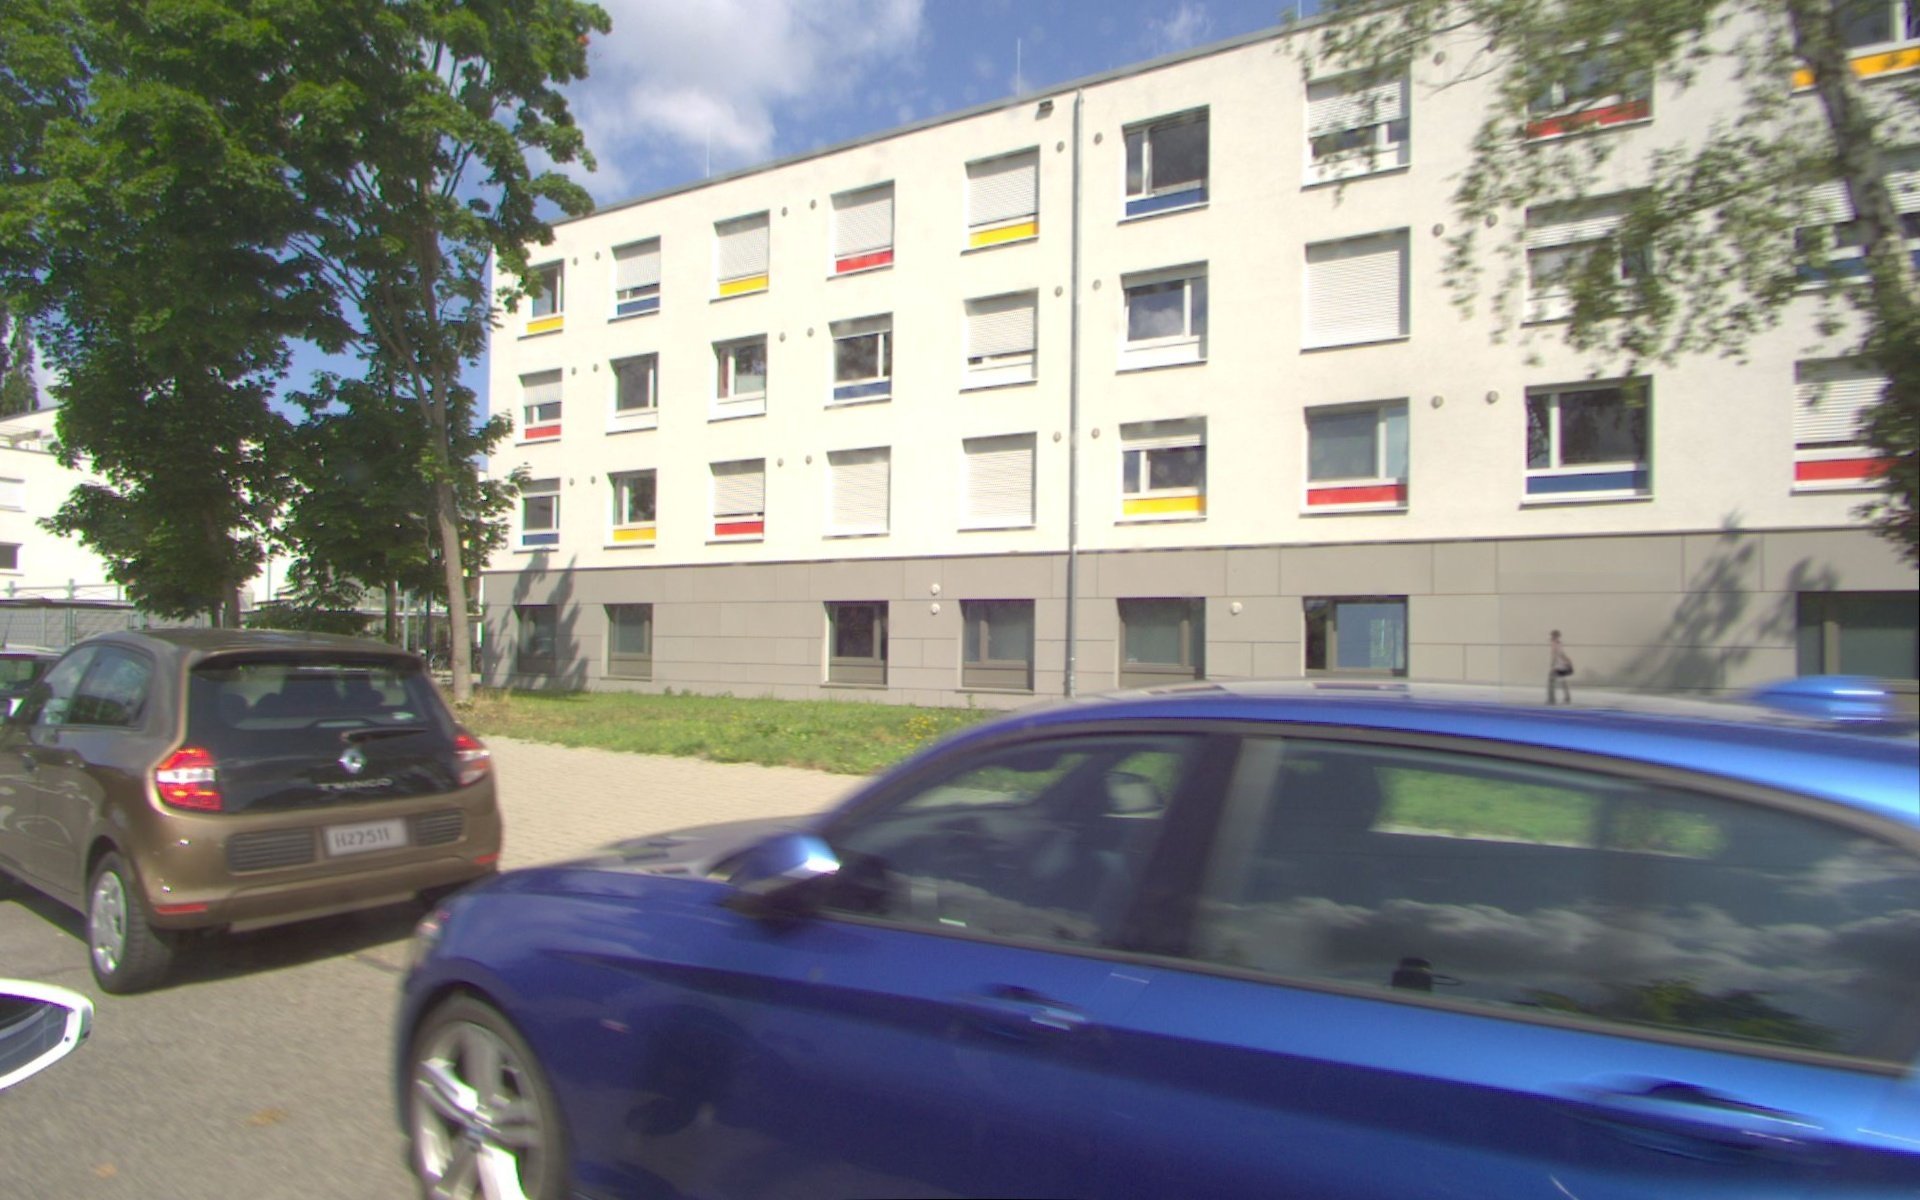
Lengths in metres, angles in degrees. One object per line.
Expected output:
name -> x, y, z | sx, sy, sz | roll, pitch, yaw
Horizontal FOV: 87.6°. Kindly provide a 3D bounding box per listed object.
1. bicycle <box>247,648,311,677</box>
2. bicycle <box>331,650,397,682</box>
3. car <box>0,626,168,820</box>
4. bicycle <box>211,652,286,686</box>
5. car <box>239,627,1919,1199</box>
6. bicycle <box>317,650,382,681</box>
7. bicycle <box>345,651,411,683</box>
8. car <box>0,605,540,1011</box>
bicycle -> -27.147, 2.471, 39.951 | 0.678, 1.093, 2.044 | 0, -1, 31
bicycle -> -22.357, 2.469, 37.607 | 0.678, 1.093, 2.044 | 0, -1, 31
car -> -8.680, 0.958, 8.701 | 3.691, 1.457, 1.661 | -1, -4, 33
bicycle -> -24.731, 2.387, 34.845 | 0.678, 1.093, 2.044 | 0, -1, 31
car -> 0.170, 0.838, 2.432 | 4.147, 1.457, 1.661 | -1, -4, 33
bicycle -> -23.135, 2.465, 37.991 | 0.678, 1.093, 2.044 | 0, -1, 31
bicycle -> -21.446, 2.453, 36.937 | 0.678, 1.093, 2.044 | 0, -1, 31
car -> -4.181, 0.889, 5.626 | 3.588, 1.571, 1.660 | -1, -4, 35
